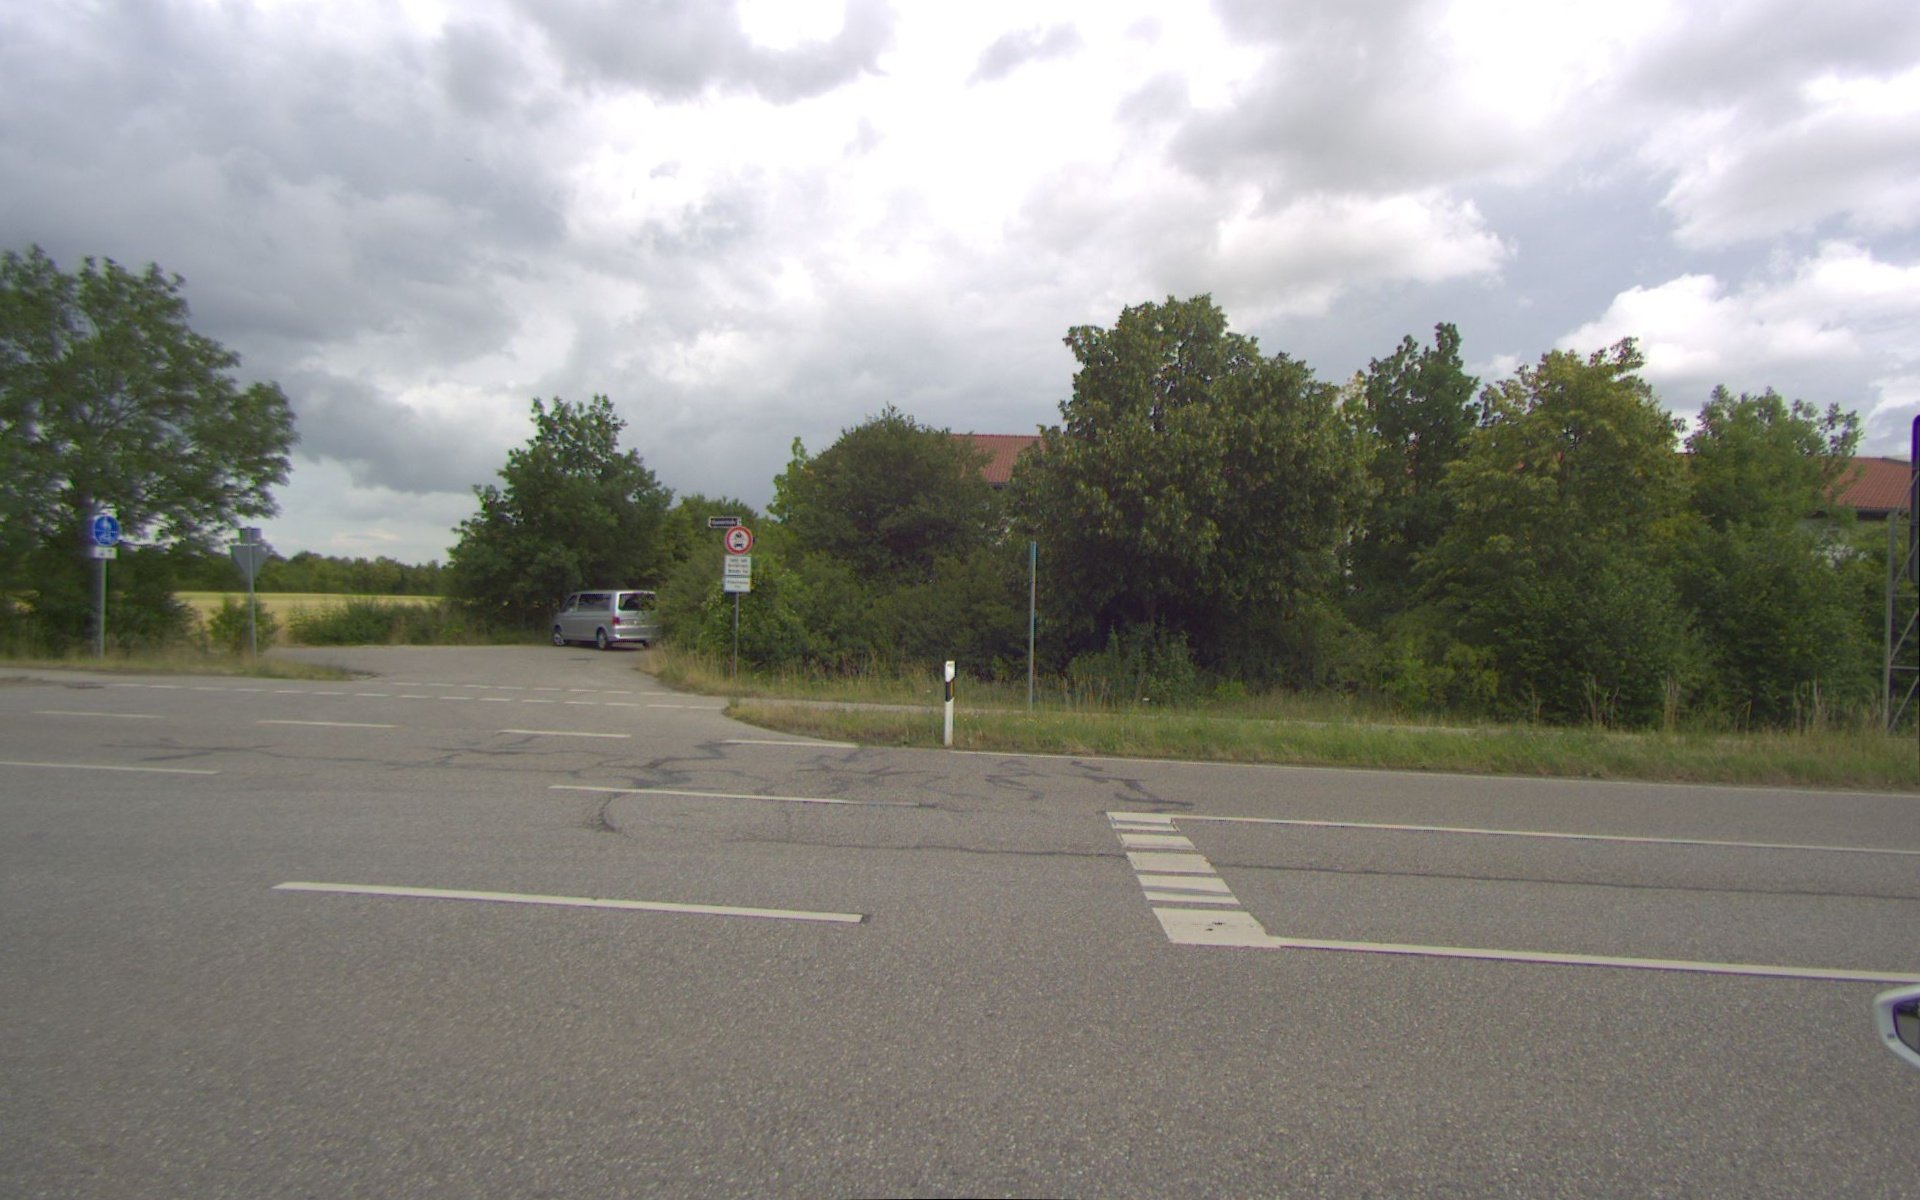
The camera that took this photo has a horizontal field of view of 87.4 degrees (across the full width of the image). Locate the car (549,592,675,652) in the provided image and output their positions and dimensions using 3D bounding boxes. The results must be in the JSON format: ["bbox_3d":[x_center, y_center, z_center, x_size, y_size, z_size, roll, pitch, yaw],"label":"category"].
[{"bbox_3d":[-12.035,0.690,34.561,5.031,1.911,2.100,1,0,45],"label":"car"}]
